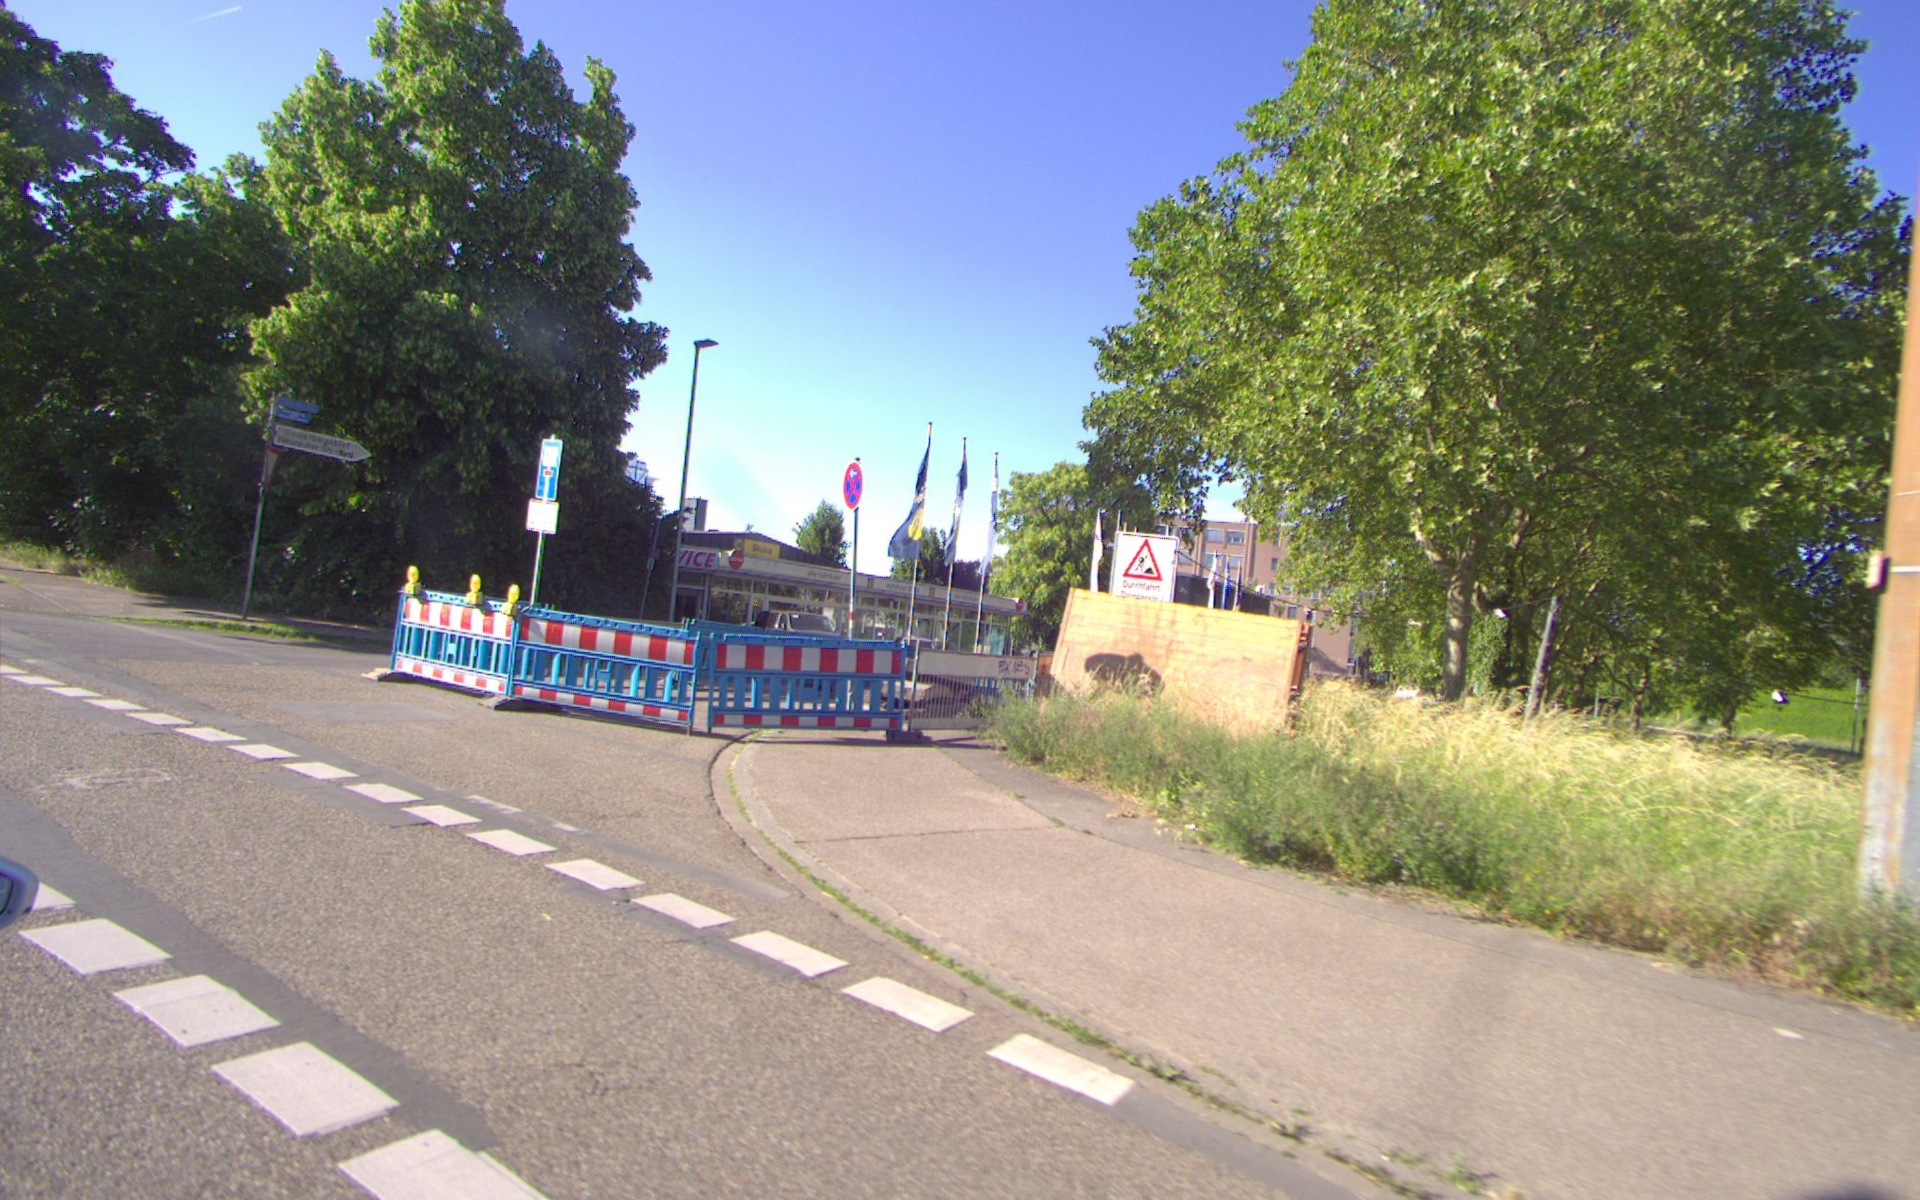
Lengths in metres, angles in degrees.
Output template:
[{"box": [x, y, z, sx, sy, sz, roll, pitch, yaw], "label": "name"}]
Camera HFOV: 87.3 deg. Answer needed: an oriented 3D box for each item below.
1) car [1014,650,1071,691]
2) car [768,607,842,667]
[{"box": [3.838, 3.275, 47.231, 1.568, 1.526, 3.332, 7, -1, -13], "label": "car"}, {"box": [-5.322, 1.210, 34.155, 1.664, 1.683, 3.757, 7, -1, -19], "label": "car"}]
